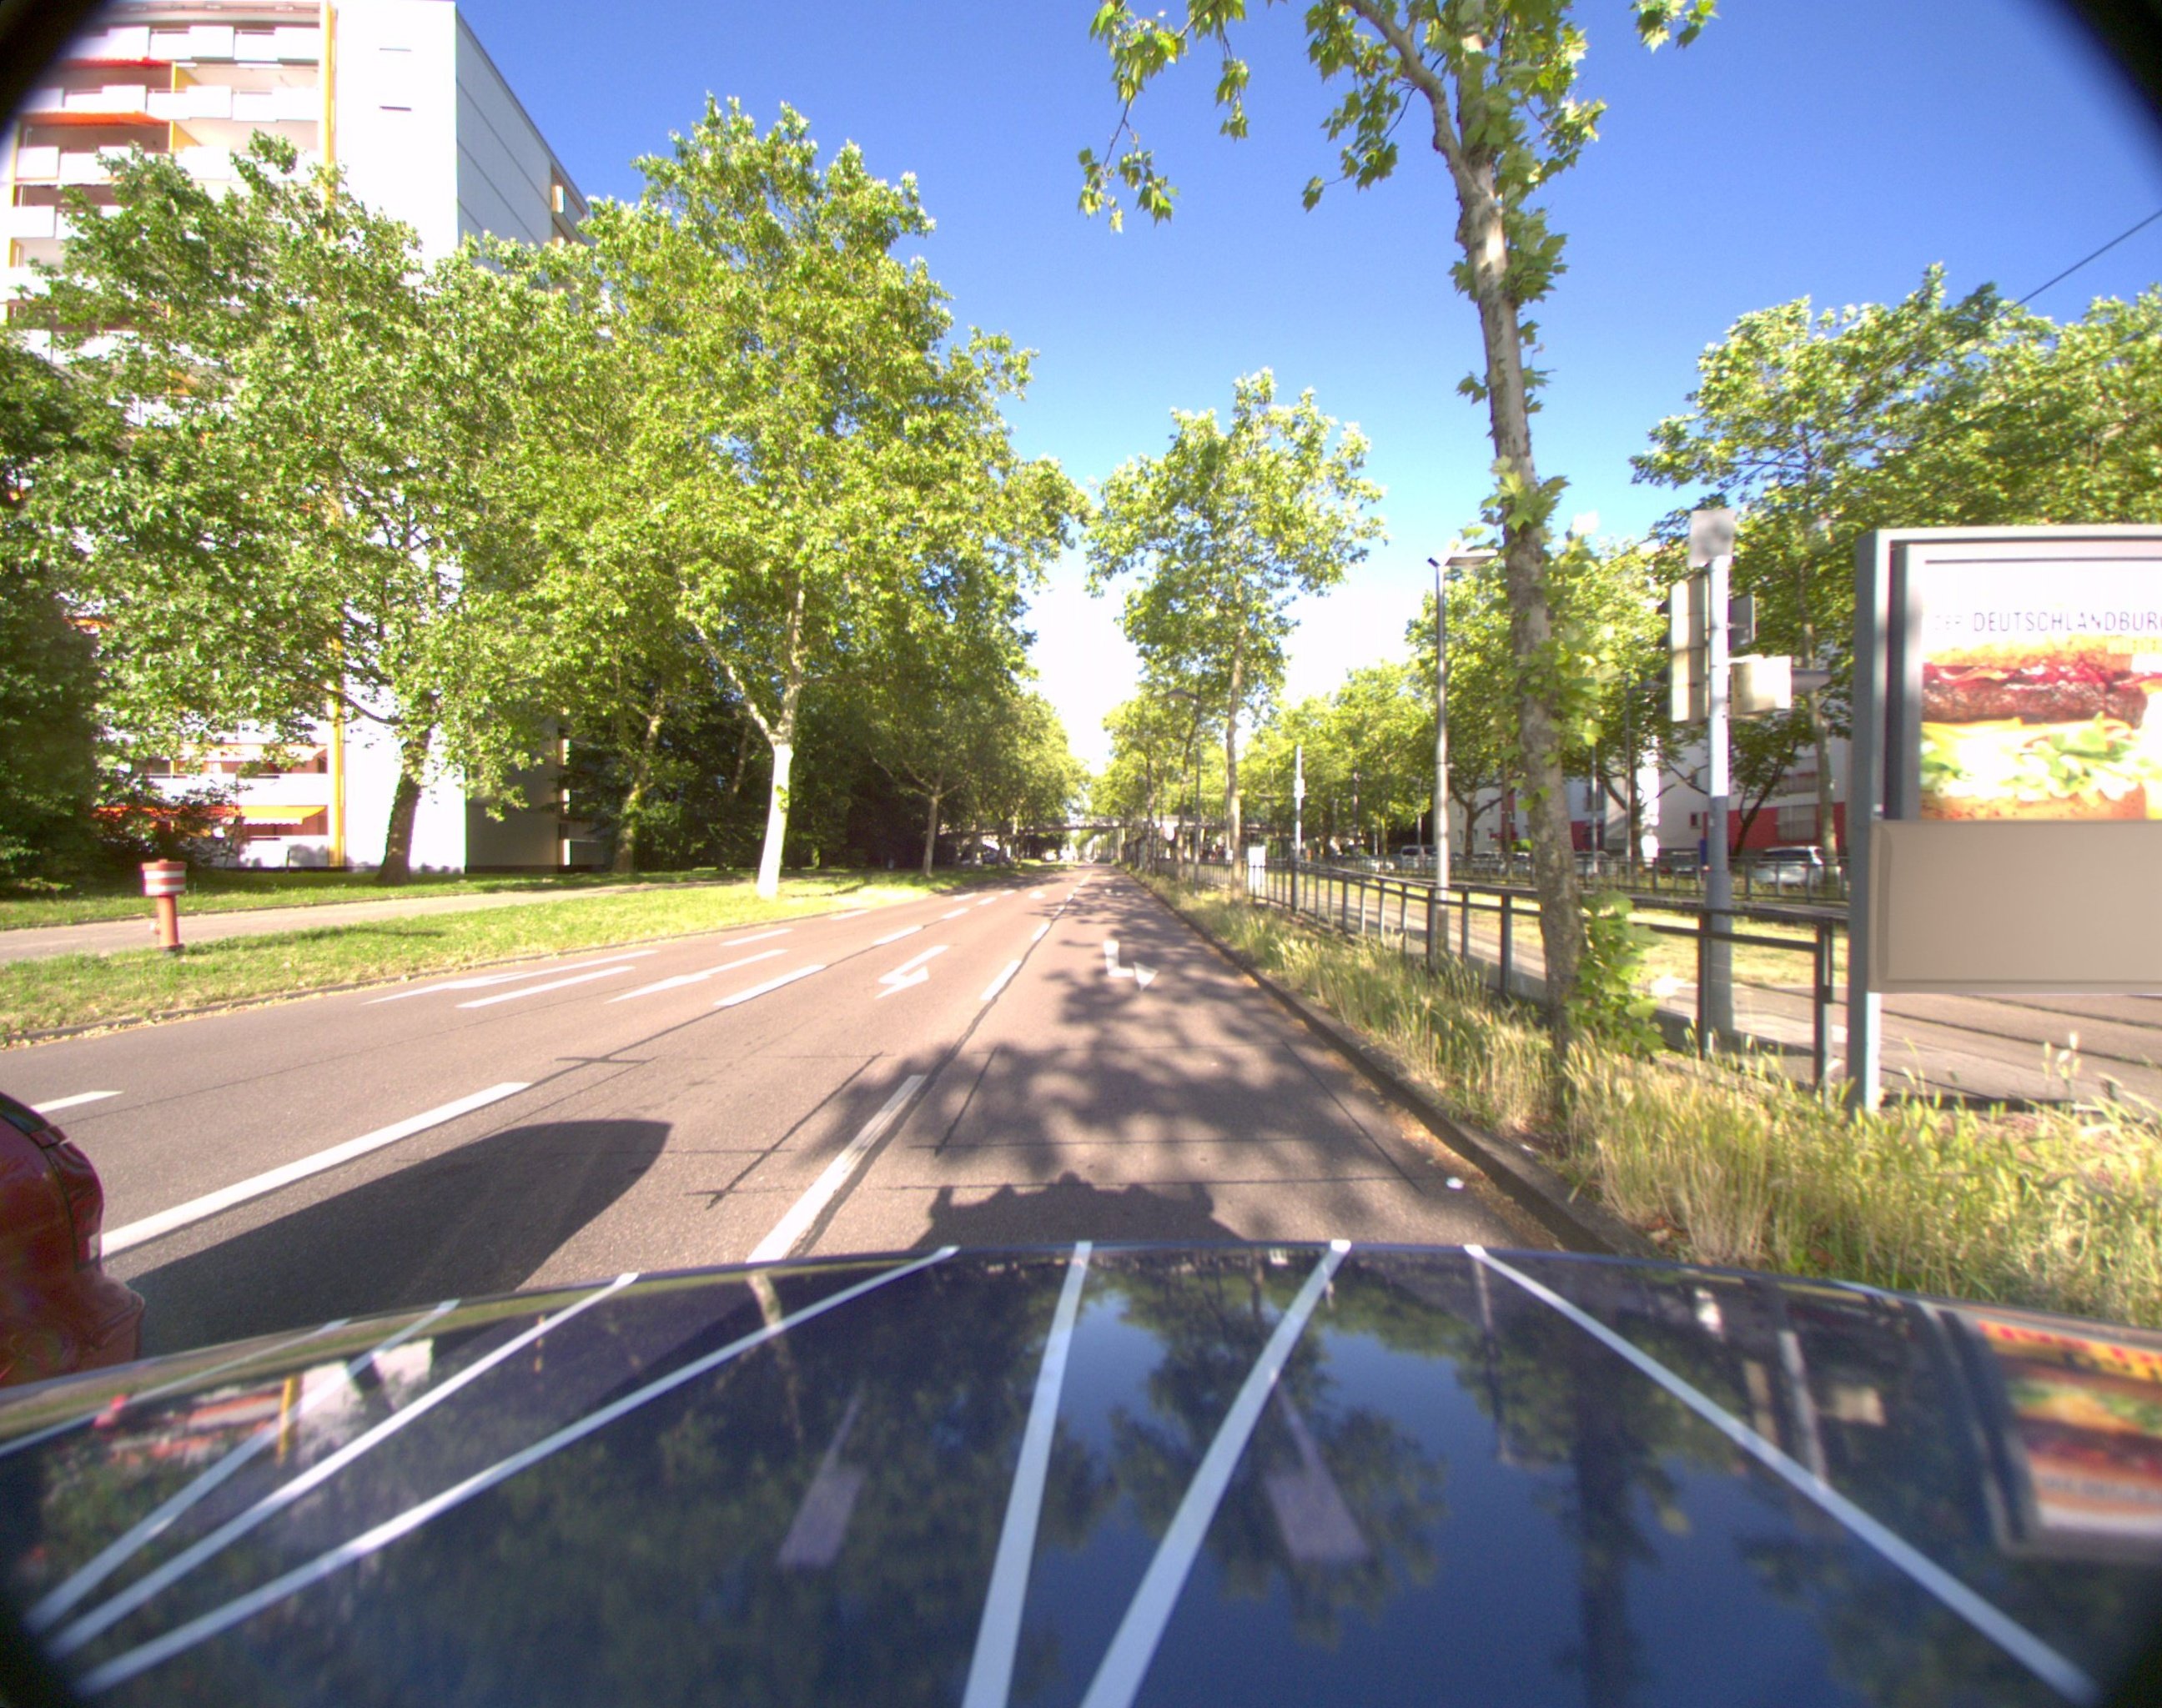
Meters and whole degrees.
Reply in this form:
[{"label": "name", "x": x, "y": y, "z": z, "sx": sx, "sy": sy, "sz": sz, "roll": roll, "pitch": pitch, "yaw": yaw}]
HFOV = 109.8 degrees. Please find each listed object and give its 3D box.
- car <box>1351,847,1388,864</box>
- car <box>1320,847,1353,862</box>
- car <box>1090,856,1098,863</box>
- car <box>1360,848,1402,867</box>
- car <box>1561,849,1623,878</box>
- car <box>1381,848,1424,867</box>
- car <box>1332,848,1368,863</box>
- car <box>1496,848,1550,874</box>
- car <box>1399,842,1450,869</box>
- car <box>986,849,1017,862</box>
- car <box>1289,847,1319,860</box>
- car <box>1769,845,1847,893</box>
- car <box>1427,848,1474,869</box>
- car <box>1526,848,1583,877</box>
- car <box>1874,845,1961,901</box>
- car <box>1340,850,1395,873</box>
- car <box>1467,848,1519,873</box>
[{"label": "car", "x": 26.627, "y": 0.140, "z": 70.123, "sx": 3.811, "sy": 1.433, "sz": 1.652, "roll": -2, "pitch": 0, "yaw": -42}, {"label": "car", "x": 26.795, "y": 0.051, "z": 79.614, "sx": 3.811, "sy": 1.433, "sz": 1.652, "roll": -2, "pitch": 0, "yaw": -42}, {"label": "car", "x": 2.891, "y": 1.260, "z": 171.897, "sx": 1.580, "sy": 1.395, "sz": 3.638, "roll": -2, "pitch": 0, "yaw": 0}, {"label": "car", "x": 24.951, "y": 0.277, "z": 63.198, "sx": 3.811, "sy": 1.433, "sz": 1.652, "roll": -2, "pitch": 0, "yaw": -42}, {"label": "car", "x": 25.388, "y": 0.452, "z": 37.687, "sx": 3.811, "sy": 1.348, "sz": 1.652, "roll": -2, "pitch": 0, "yaw": -42}, {"label": "car", "x": 25.737, "y": 0.274, "z": 60.741, "sx": 3.811, "sy": 1.433, "sz": 1.652, "roll": -2, "pitch": 0, "yaw": -42}, {"label": "car", "x": 26.074, "y": 0.139, "z": 73.554, "sx": 3.811, "sy": 1.433, "sz": 1.652, "roll": -2, "pitch": 0, "yaw": -42}, {"label": "car", "x": 26.105, "y": 0.411, "z": 44.853, "sx": 3.811, "sy": 1.433, "sz": 1.652, "roll": -2, "pitch": 0, "yaw": -42}, {"label": "car", "x": 25.826, "y": 0.094, "z": 57.019, "sx": 4.330, "sy": 1.863, "sz": 1.836, "roll": -2, "pitch": 0, "yaw": -42}, {"label": "car", "x": -12.416, "y": 0.241, "z": 118.795, "sx": 4.720, "sy": 1.924, "sz": 1.906, "roll": -2, "pitch": 0, "yaw": -7}, {"label": "car", "x": 26.448, "y": -0.041, "z": 89.964, "sx": 3.811, "sy": 1.433, "sz": 1.652, "roll": -2, "pitch": 0, "yaw": -42}, {"label": "car", "x": 25.363, "y": 0.493, "z": 26.464, "sx": 3.811, "sy": 1.501, "sz": 1.652, "roll": -2, "pitch": 0, "yaw": -42}, {"label": "car", "x": 26.309, "y": 0.315, "z": 54.021, "sx": 3.811, "sy": 1.433, "sz": 1.652, "roll": -2, "pitch": 0, "yaw": -42}, {"label": "car", "x": 25.869, "y": 0.447, "z": 41.468, "sx": 3.811, "sy": 1.433, "sz": 1.652, "roll": -2, "pitch": 0, "yaw": -42}, {"label": "car", "x": 25.249, "y": 0.527, "z": 22.956, "sx": 3.811, "sy": 1.501, "sz": 1.652, "roll": -2, "pitch": 0, "yaw": -42}, {"label": "car", "x": 20.185, "y": 0.532, "z": 53.705, "sx": 1.656, "sy": 1.501, "sz": 4.639, "roll": -2, "pitch": 0, "yaw": -8}, {"label": "car", "x": 25.858, "y": 0.402, "z": 47.668, "sx": 3.811, "sy": 1.433, "sz": 1.652, "roll": -2, "pitch": 0, "yaw": -42}]
